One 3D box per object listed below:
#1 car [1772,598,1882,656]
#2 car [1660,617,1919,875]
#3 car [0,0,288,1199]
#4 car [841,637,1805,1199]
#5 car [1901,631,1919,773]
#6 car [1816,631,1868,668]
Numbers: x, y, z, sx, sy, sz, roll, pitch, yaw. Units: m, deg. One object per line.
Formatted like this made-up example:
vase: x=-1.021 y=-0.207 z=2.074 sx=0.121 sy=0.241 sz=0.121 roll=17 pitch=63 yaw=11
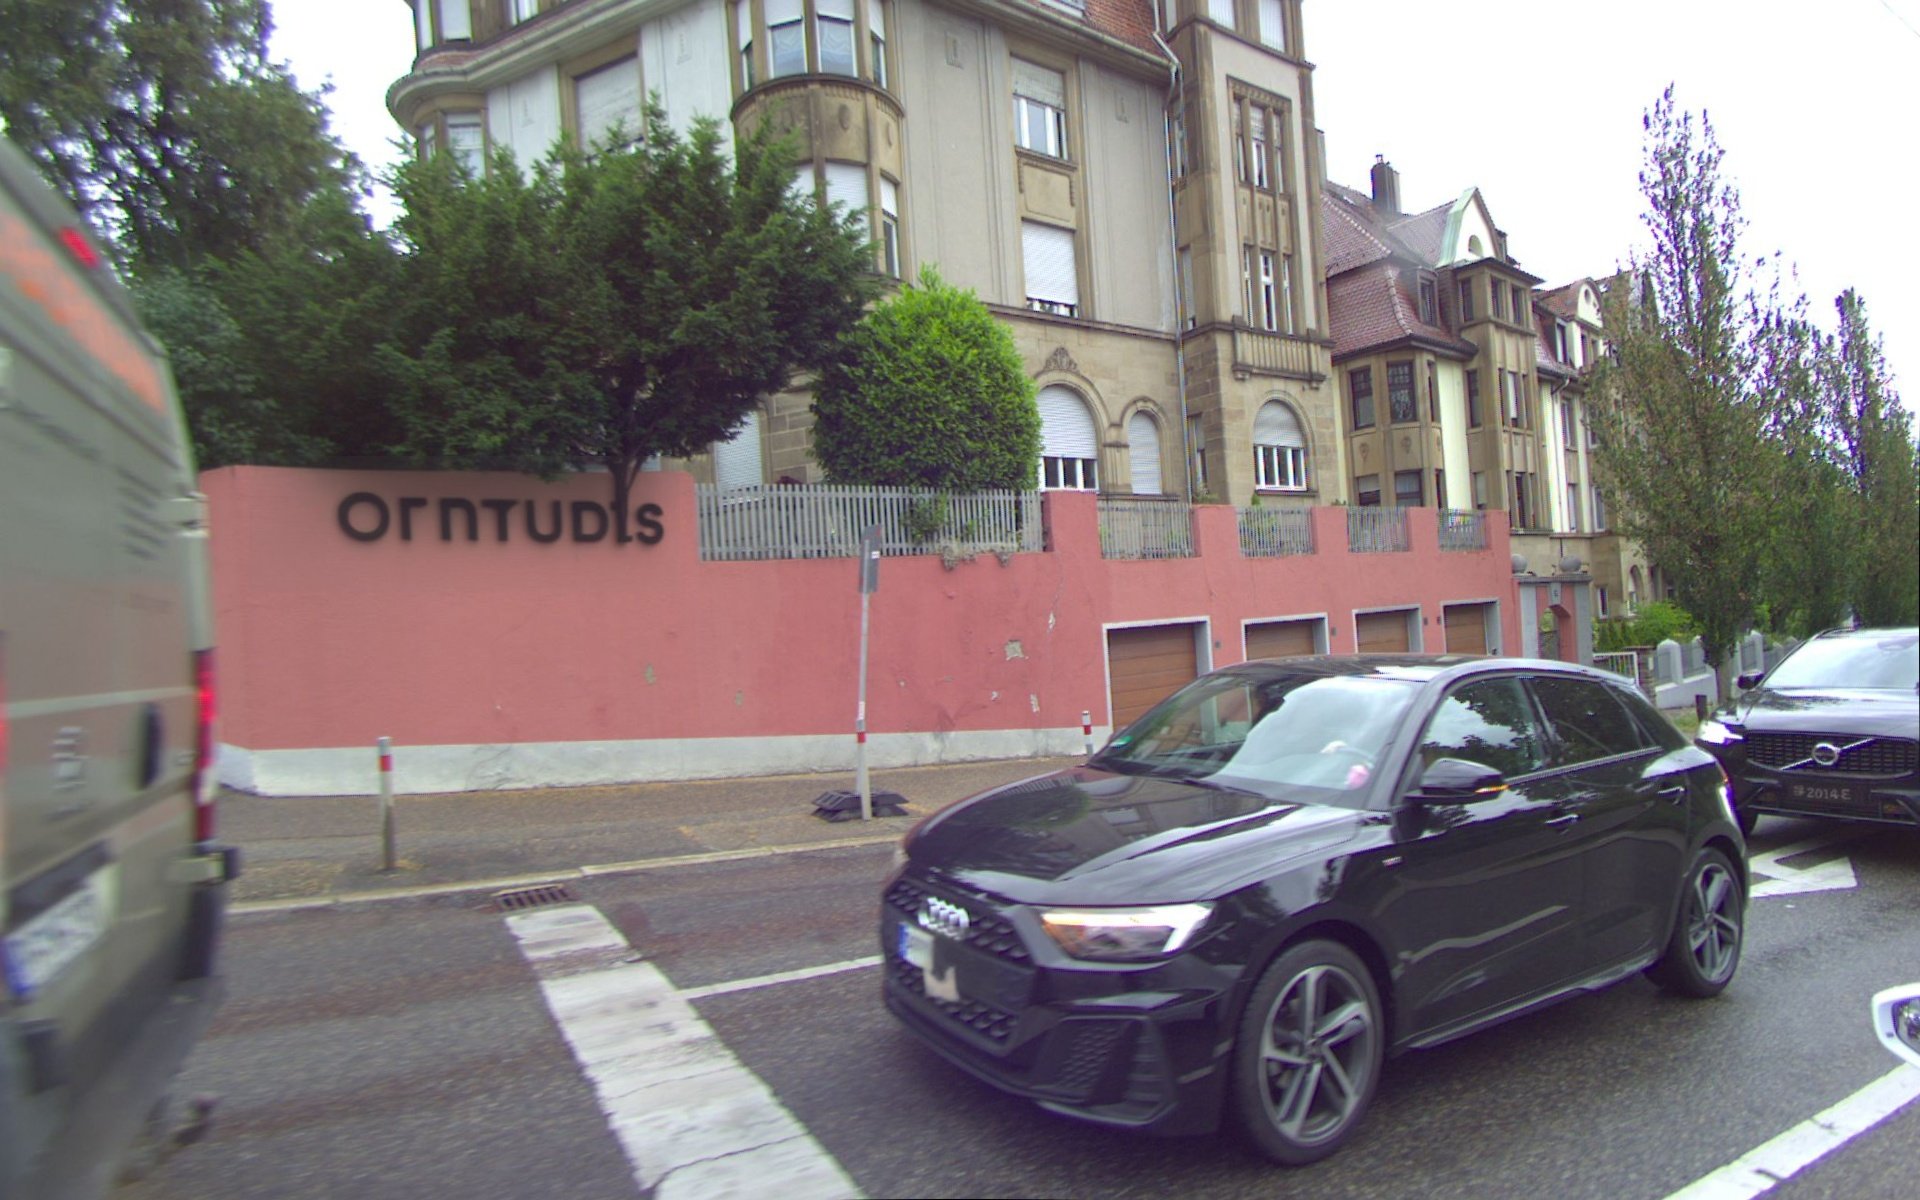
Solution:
car: x=26.368 y=0.843 z=30.514 sx=3.965 sy=1.633 sz=1.801 roll=3 pitch=-3 yaw=-38
car: x=7.531 y=0.980 z=7.954 sx=4.542 sy=1.595 sz=1.863 roll=2 pitch=-3 yaw=-36
car: x=-4.206 y=0.201 z=1.151 sx=5.471 sy=2.579 sz=2.109 roll=1 pitch=-3 yaw=-29
car: x=1.672 y=0.909 z=4.237 sx=3.957 sy=1.448 sz=1.805 roll=1 pitch=-4 yaw=-33
car: x=12.409 y=1.146 z=11.464 sx=4.223 sy=1.517 sz=1.761 roll=2 pitch=-2 yaw=-37
car: x=44.431 y=2.477 z=50.585 sx=1.769 sy=1.672 sz=4.173 roll=-8 pitch=-7 yaw=42
